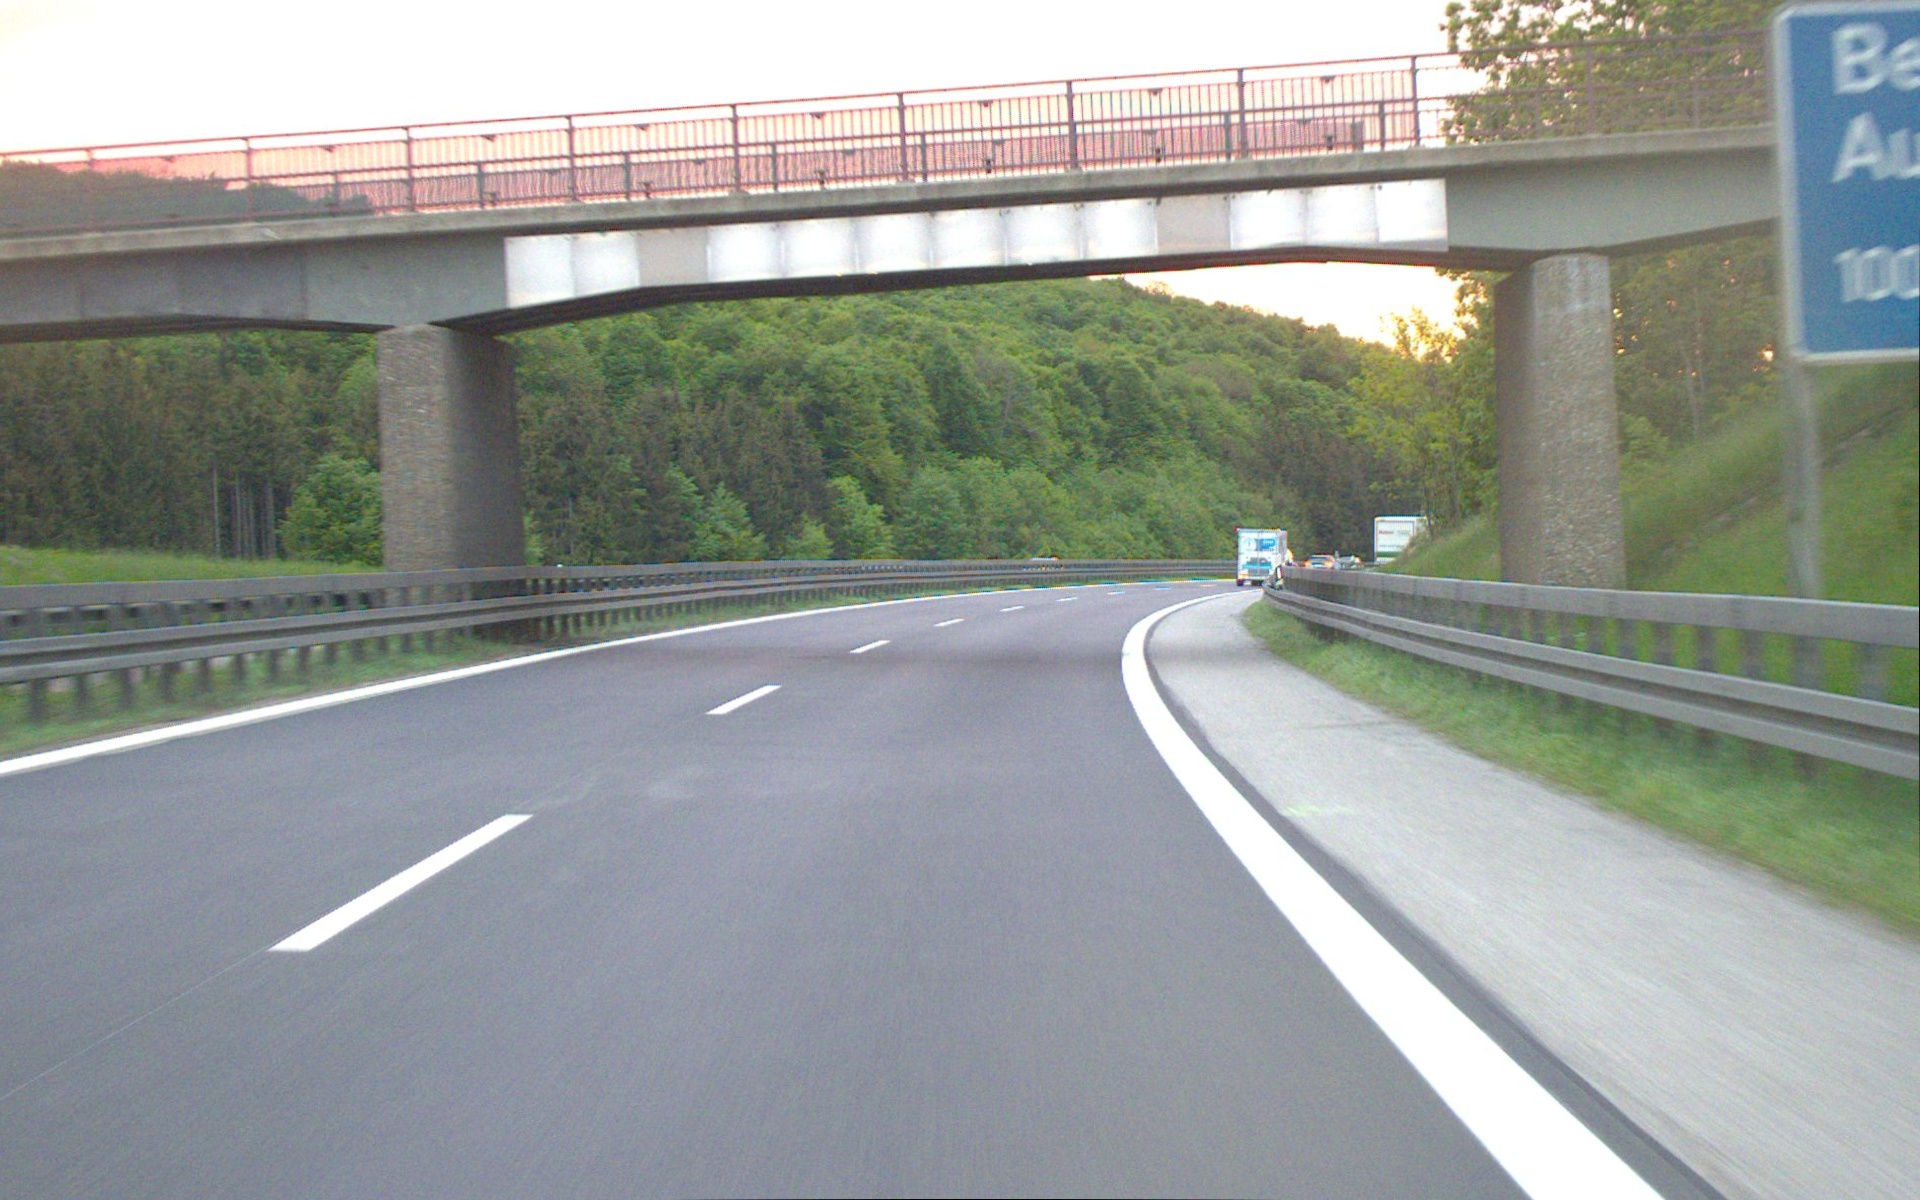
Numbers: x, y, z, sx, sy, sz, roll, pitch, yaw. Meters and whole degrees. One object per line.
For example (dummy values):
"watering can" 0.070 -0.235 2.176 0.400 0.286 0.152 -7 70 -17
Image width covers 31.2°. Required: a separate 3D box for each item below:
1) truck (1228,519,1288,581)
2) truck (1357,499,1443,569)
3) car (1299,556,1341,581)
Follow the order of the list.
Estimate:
"truck" 13.820 -2.351 159.204 2.277 2.655 5.234 -2 2 10
"truck" 28.310 -4.224 220.511 3.960 4.272 14.315 -1 1 13
"car" 22.345 -1.961 213.297 1.995 1.512 3.997 0 1 15
